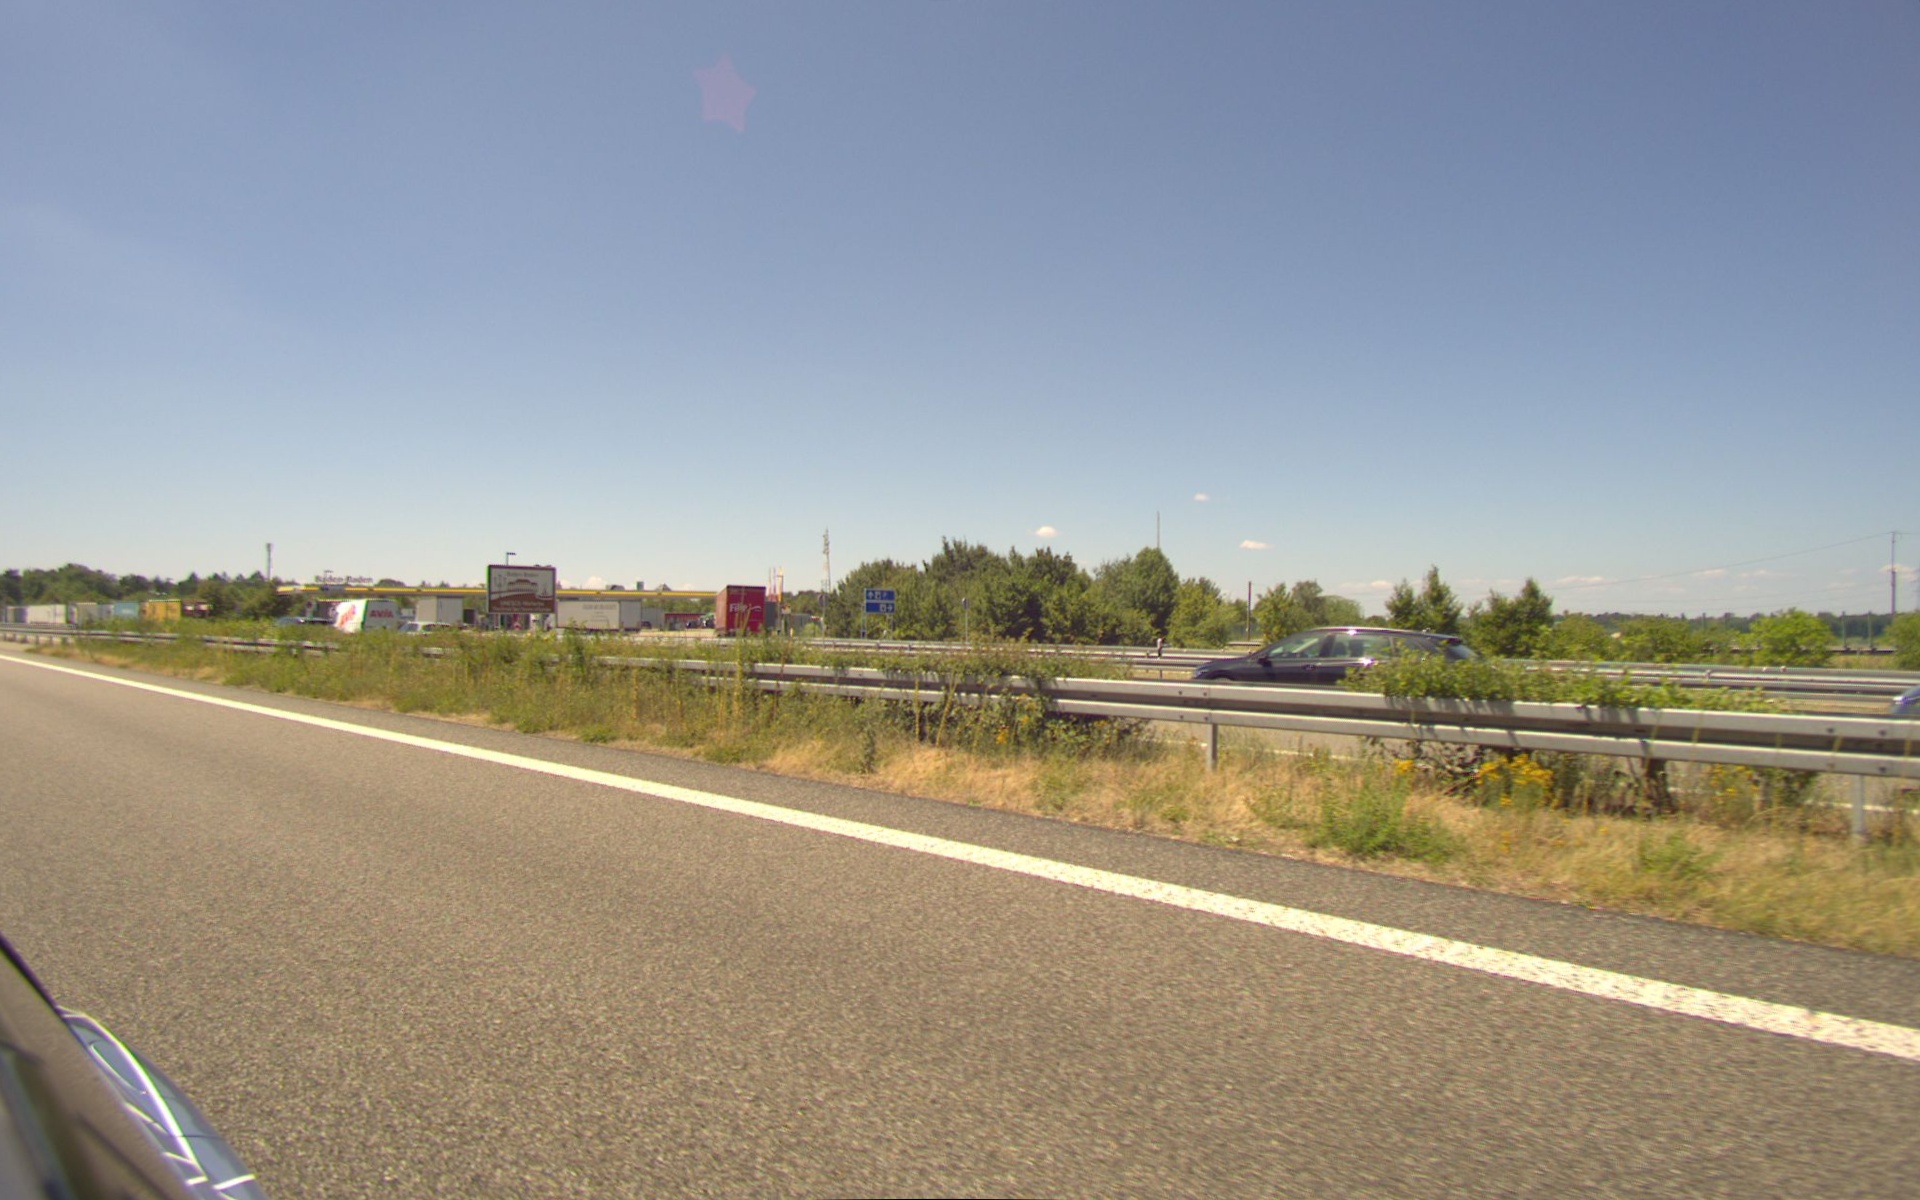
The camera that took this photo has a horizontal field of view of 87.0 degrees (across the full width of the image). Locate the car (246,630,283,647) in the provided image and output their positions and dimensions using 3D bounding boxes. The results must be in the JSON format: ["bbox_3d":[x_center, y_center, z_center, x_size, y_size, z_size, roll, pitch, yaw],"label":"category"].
[{"bbox_3d":[-67.559,3.697,98.302,4.505,1.500,1.794,-1,0,40],"label":"car"}]

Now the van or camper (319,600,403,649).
[{"bbox_3d":[-32.838,1.315,55.393,6.386,2.543,2.038,-1,0,41],"label":"van or camper"}]

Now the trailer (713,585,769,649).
[{"bbox_3d":[-15.525,1.100,71.063,3.078,4.086,11.346,-1,0,-16],"label":"trailer"}]

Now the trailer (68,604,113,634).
[{"bbox_3d":[-126.554,2.734,147.218,11.004,4.189,3.083,-1,0,39],"label":"trailer"}]

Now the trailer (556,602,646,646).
[{"bbox_3d":[-38.246,2.471,107.525,12.919,4.390,3.266,-1,0,42],"label":"trailer"}]

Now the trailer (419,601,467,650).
[{"bbox_3d":[-54.828,2.609,107.196,3.257,4.911,9.708,-1,0,-34],"label":"trailer"}]

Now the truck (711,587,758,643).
[{"bbox_3d":[-17.427,1.115,77.922,3.075,4.080,6.664,-1,0,-15],"label":"truck"}]

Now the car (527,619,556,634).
[{"bbox_3d":[-58.770,3.731,142.137,4.779,2.003,1.794,-1,0,40],"label":"car"}]

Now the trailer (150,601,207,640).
[{"bbox_3d":[-91.161,2.357,117.982,11.073,4.251,2.805,-1,0,40],"label":"trailer"}]

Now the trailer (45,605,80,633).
[{"bbox_3d":[-143.442,3.006,161.667,10.506,4.250,2.572,-1,0,40],"label":"trailer"}]

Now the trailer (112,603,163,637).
[{"bbox_3d":[-107.365,2.561,132.036,12.073,4.179,2.805,-1,0,40],"label":"trailer"}]

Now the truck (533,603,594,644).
[{"bbox_3d":[-44.363,2.582,113.146,7.624,4.390,3.266,-1,0,42],"label":"truck"}]

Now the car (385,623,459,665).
[{"bbox_3d":[-21.005,1.693,39.483,3.401,1.526,1.431,-1,0,41],"label":"car"}]

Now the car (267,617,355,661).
[{"bbox_3d":[-24.759,1.453,38.580,4.054,1.507,1.760,-1,0,41],"label":"car"}]

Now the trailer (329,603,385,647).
[{"bbox_3d":[-69.786,2.834,117.030,9.132,4.886,3.000,-1,0,42],"label":"trailer"}]

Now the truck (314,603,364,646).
[{"bbox_3d":[-74.410,2.929,121.236,7.877,4.886,2.993,-1,0,42],"label":"truck"}]

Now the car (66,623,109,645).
[{"bbox_3d":[-74.526,2.883,86.392,5.043,1.824,1.934,-1,0,40],"label":"car"}]

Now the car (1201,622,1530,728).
[{"bbox_3d":[6.128,1.047,15.595,4.358,1.398,1.869,-1,-2,40],"label":"car"}]
